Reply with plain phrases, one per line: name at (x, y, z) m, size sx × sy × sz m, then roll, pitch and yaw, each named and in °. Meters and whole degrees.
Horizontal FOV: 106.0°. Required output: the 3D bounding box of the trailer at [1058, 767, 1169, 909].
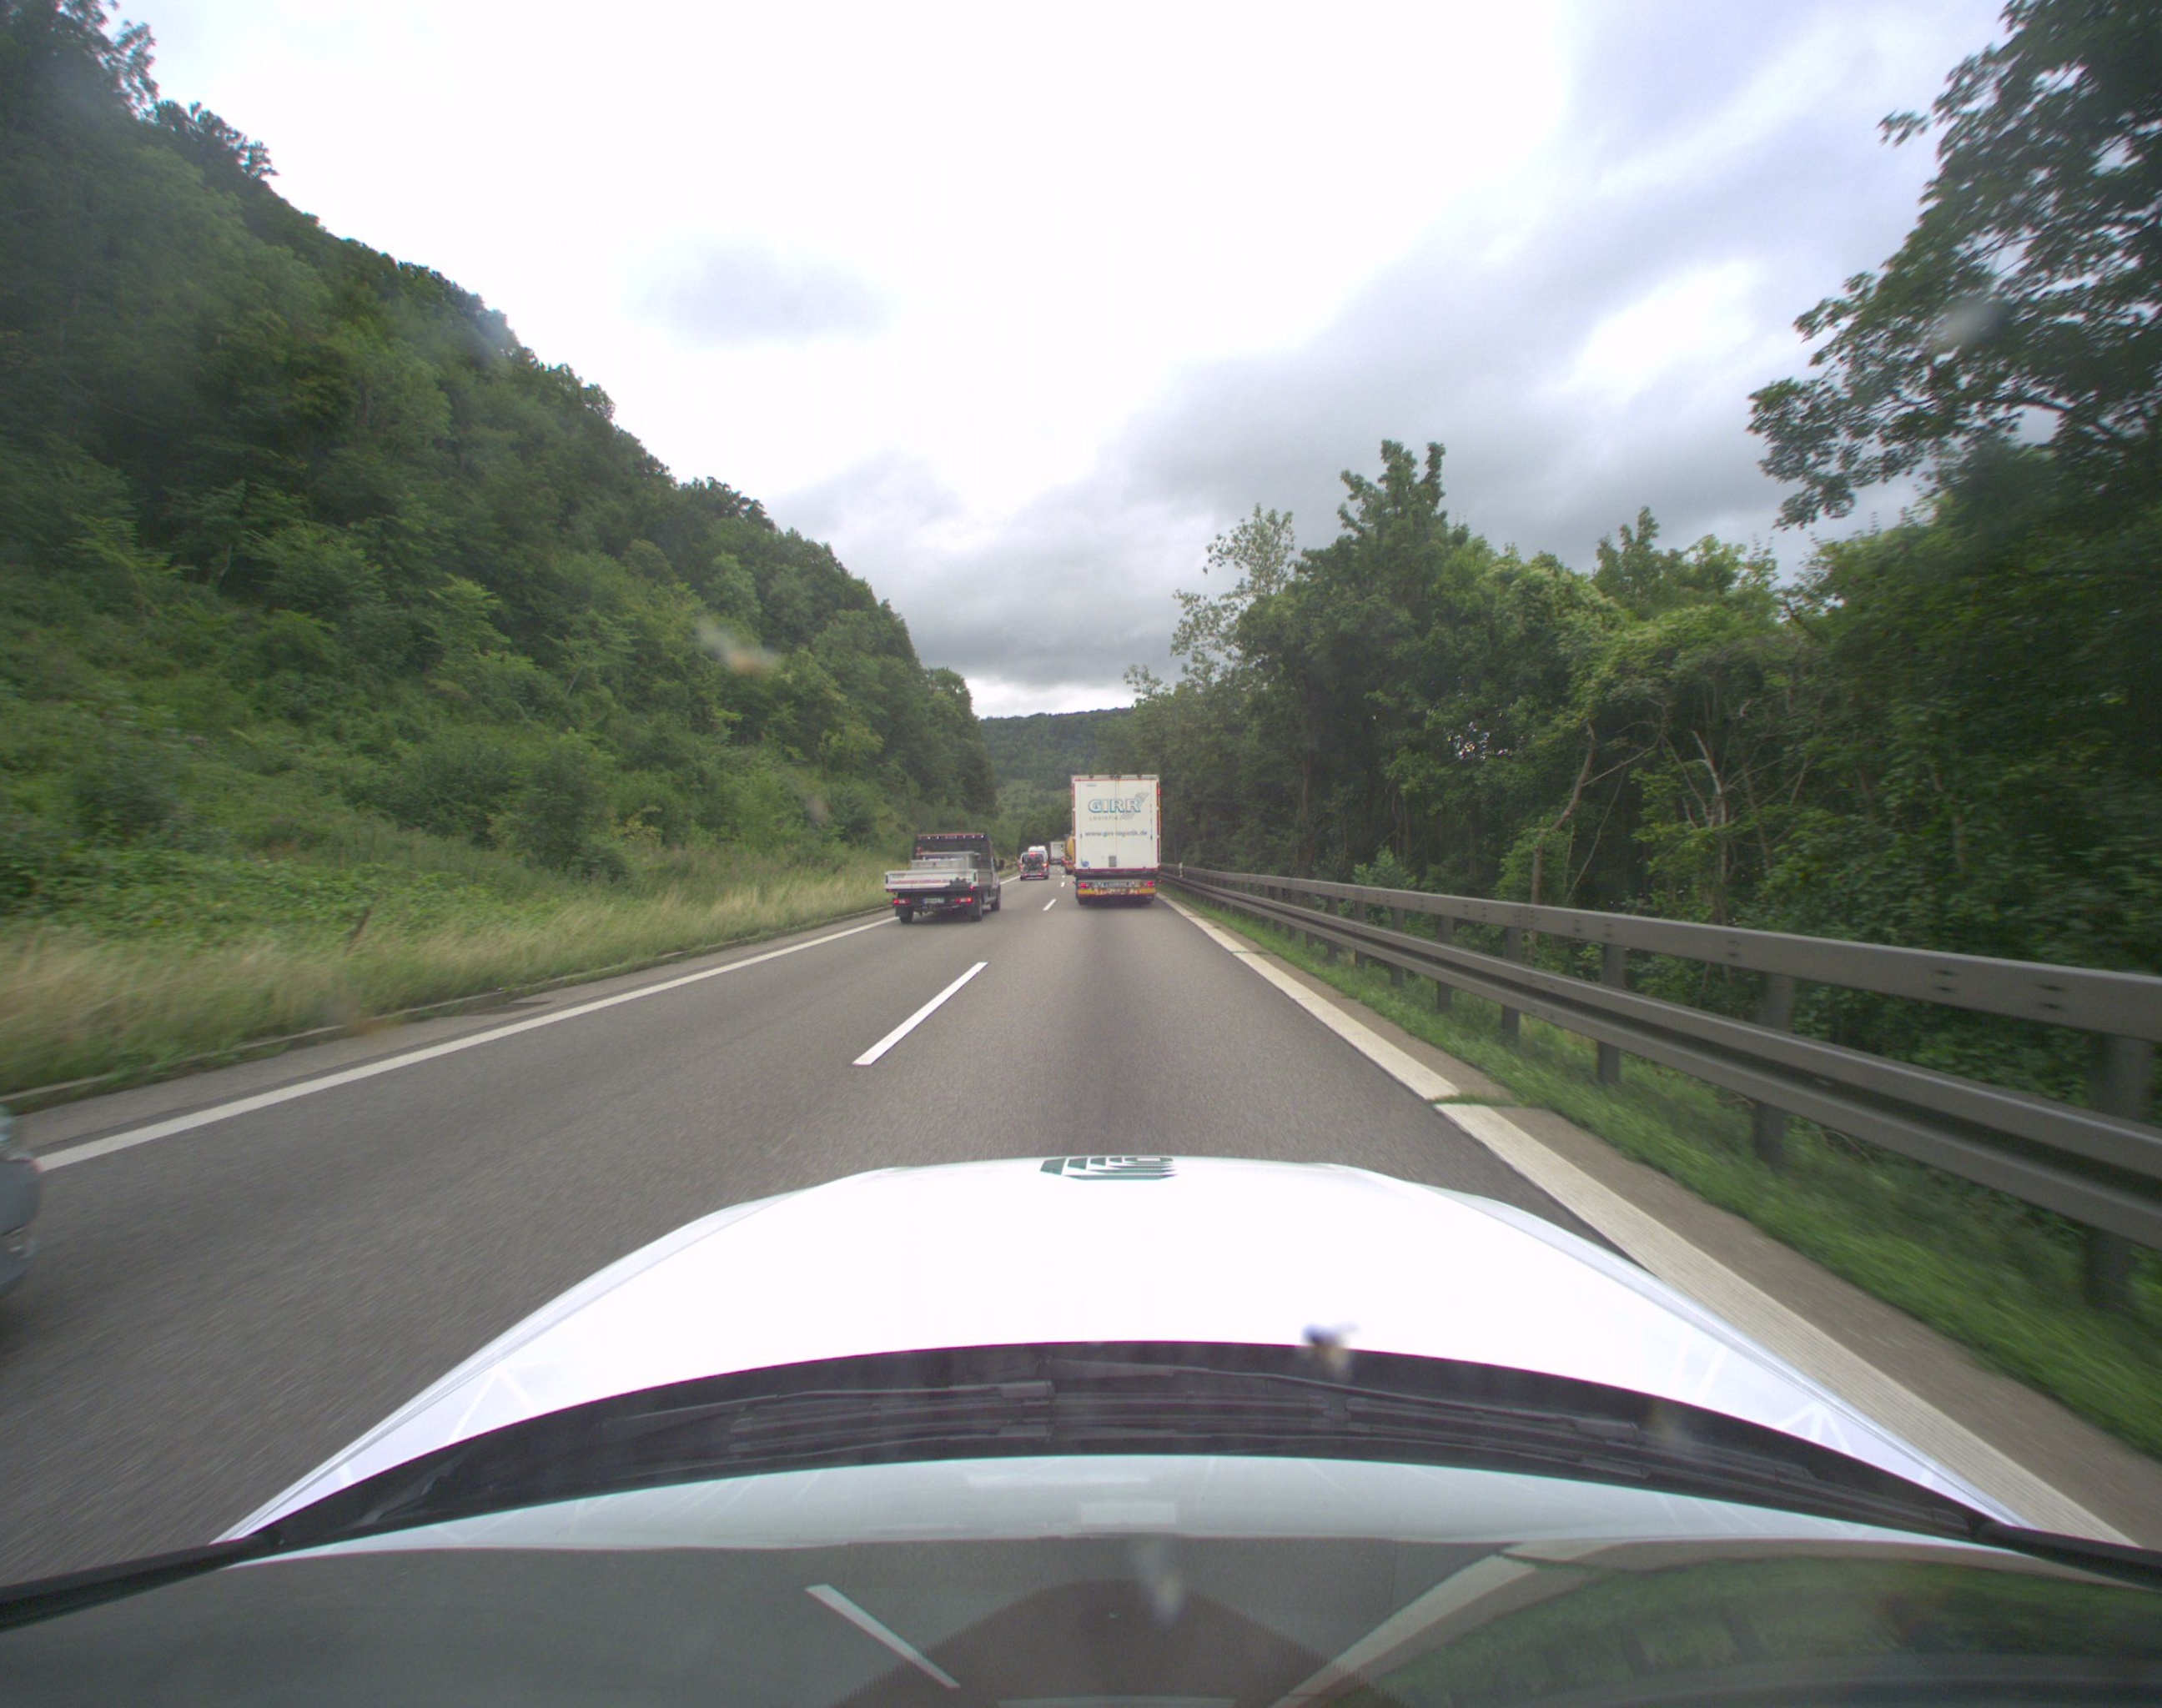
trailer at (0.976, -0.465, 28.140) m, size 3.122 × 4.043 × 9.439 m, roll 1°, pitch 0°, yaw 0°

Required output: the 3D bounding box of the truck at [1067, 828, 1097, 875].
truck at (0.150, -0.182, 70.104) m, size 2.224 × 3.804 × 6.827 m, roll -1°, pitch -1°, yaw 3°

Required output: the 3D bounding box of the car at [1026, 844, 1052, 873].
car at (-3.865, 0.416, 75.641) m, size 2.117 × 2.598 × 5.562 m, roll -1°, pitch 0°, yaw 0°

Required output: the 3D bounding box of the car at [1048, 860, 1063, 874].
car at (-3.635, 1.868, 117.597) m, size 1.990 × 2.014 × 3.993 m, roll 0°, pitch -1°, yaw -4°

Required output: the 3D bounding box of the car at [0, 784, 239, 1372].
car at (-4.030, 0.672, 0.889) m, size 1.628 × 1.726 × 4.345 m, roll -2°, pitch 0°, yaw 1°

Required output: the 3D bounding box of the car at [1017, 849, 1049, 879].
car at (-3.262, 0.659, 55.966) m, size 2.013 × 1.914 × 5.560 m, roll 0°, pitch 0°, yaw -2°

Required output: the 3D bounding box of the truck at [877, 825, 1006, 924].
truck at (-3.526, 0.482, 22.178) m, size 2.342 × 2.274 × 6.847 m, roll 0°, pitch 0°, yaw 0°

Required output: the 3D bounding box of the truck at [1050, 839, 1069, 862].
truck at (-3.773, -0.527, 139.264) m, size 3.062 × 3.877 × 8.449 m, roll 0°, pitch -1°, yaw -3°
